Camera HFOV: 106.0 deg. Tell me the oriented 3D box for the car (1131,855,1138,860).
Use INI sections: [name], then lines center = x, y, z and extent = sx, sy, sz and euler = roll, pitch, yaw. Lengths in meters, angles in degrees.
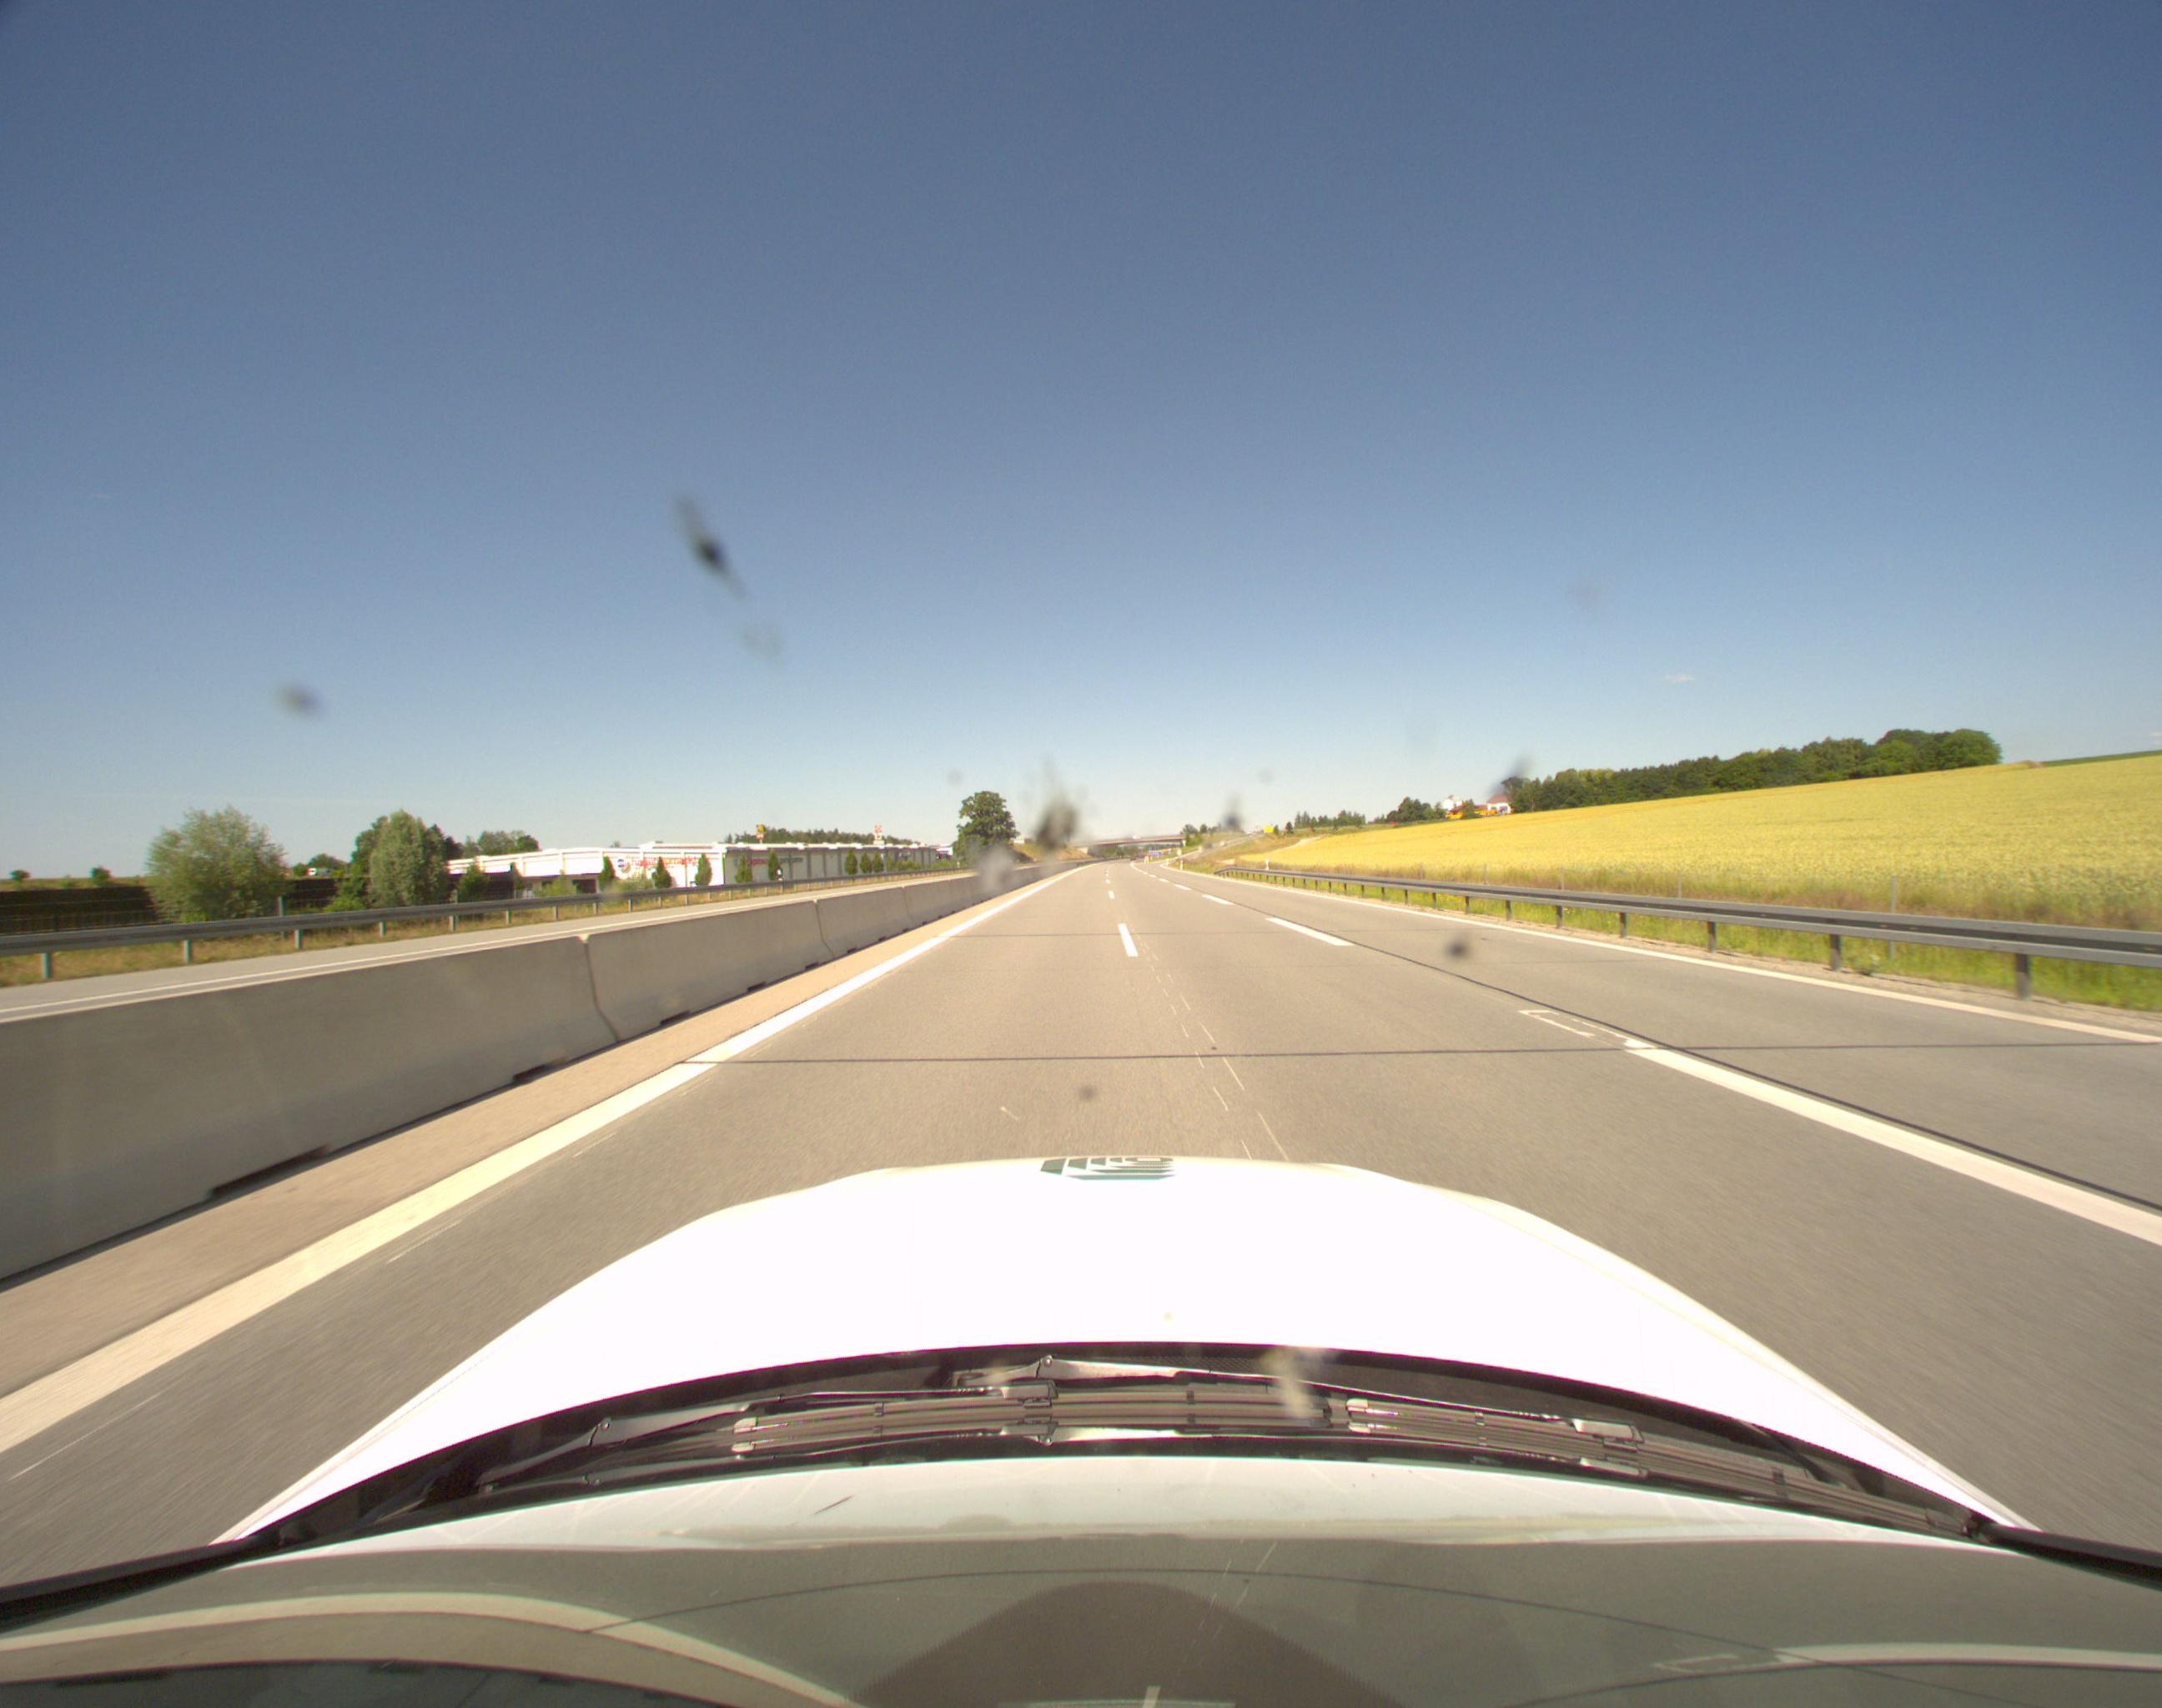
[car]
center = 16.725, 1.000, 255.178
extent = 1.984, 1.420, 4.005
euler = -3, 0, 4
